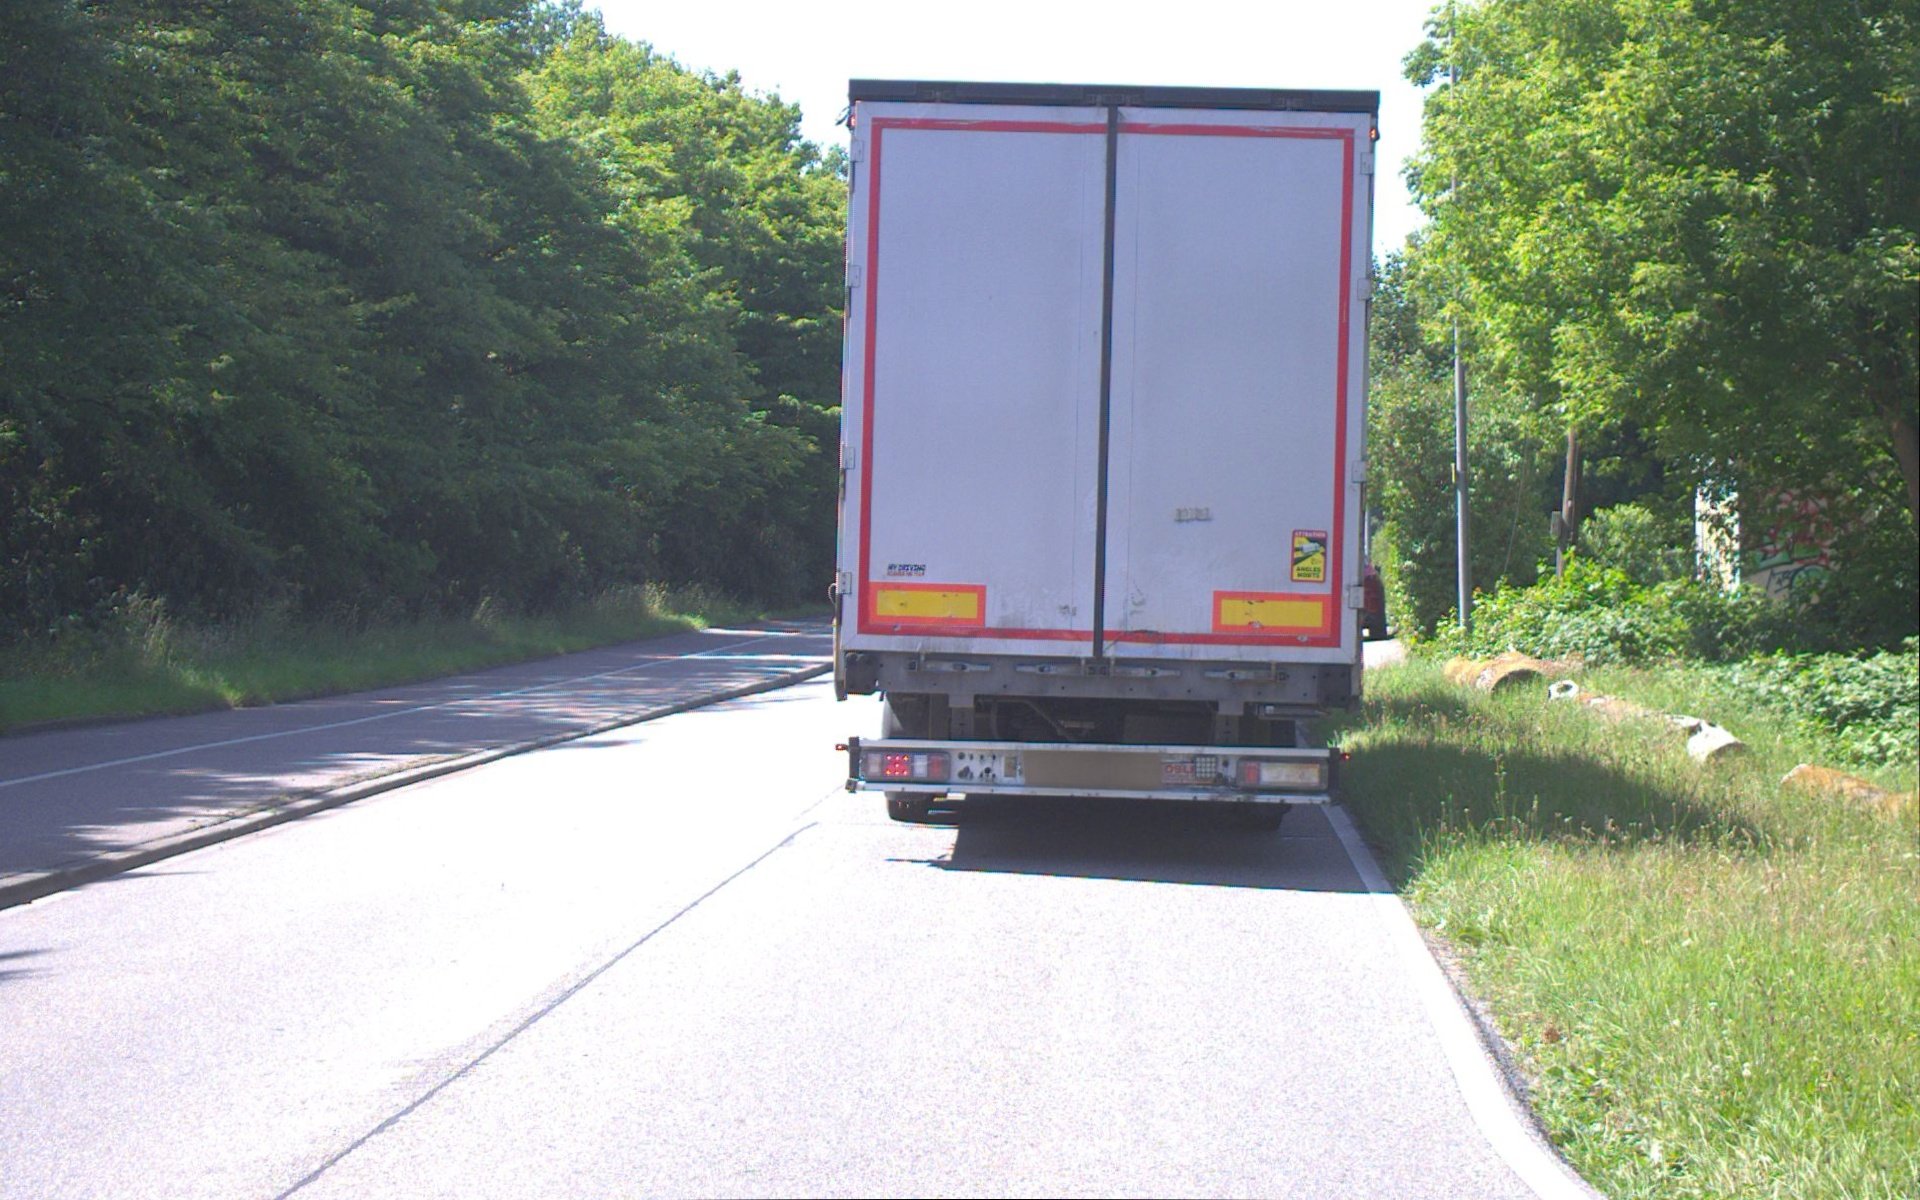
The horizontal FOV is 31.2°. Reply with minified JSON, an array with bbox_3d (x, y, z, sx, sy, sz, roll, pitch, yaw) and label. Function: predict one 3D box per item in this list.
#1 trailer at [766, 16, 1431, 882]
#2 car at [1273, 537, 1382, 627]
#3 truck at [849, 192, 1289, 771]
[{"bbox_3d":[0.727,-0.791,21.232,3.077,4.056,9.809,1,1,1],"label":"trailer"},{"bbox_3d":[6.456,-0.334,60.705,1.711,1.525,3.850,0,1,3],"label":"car"},{"bbox_3d":[0.848,-0.870,28.079,3.077,4.056,7.959,0,0,1],"label":"truck"}]
